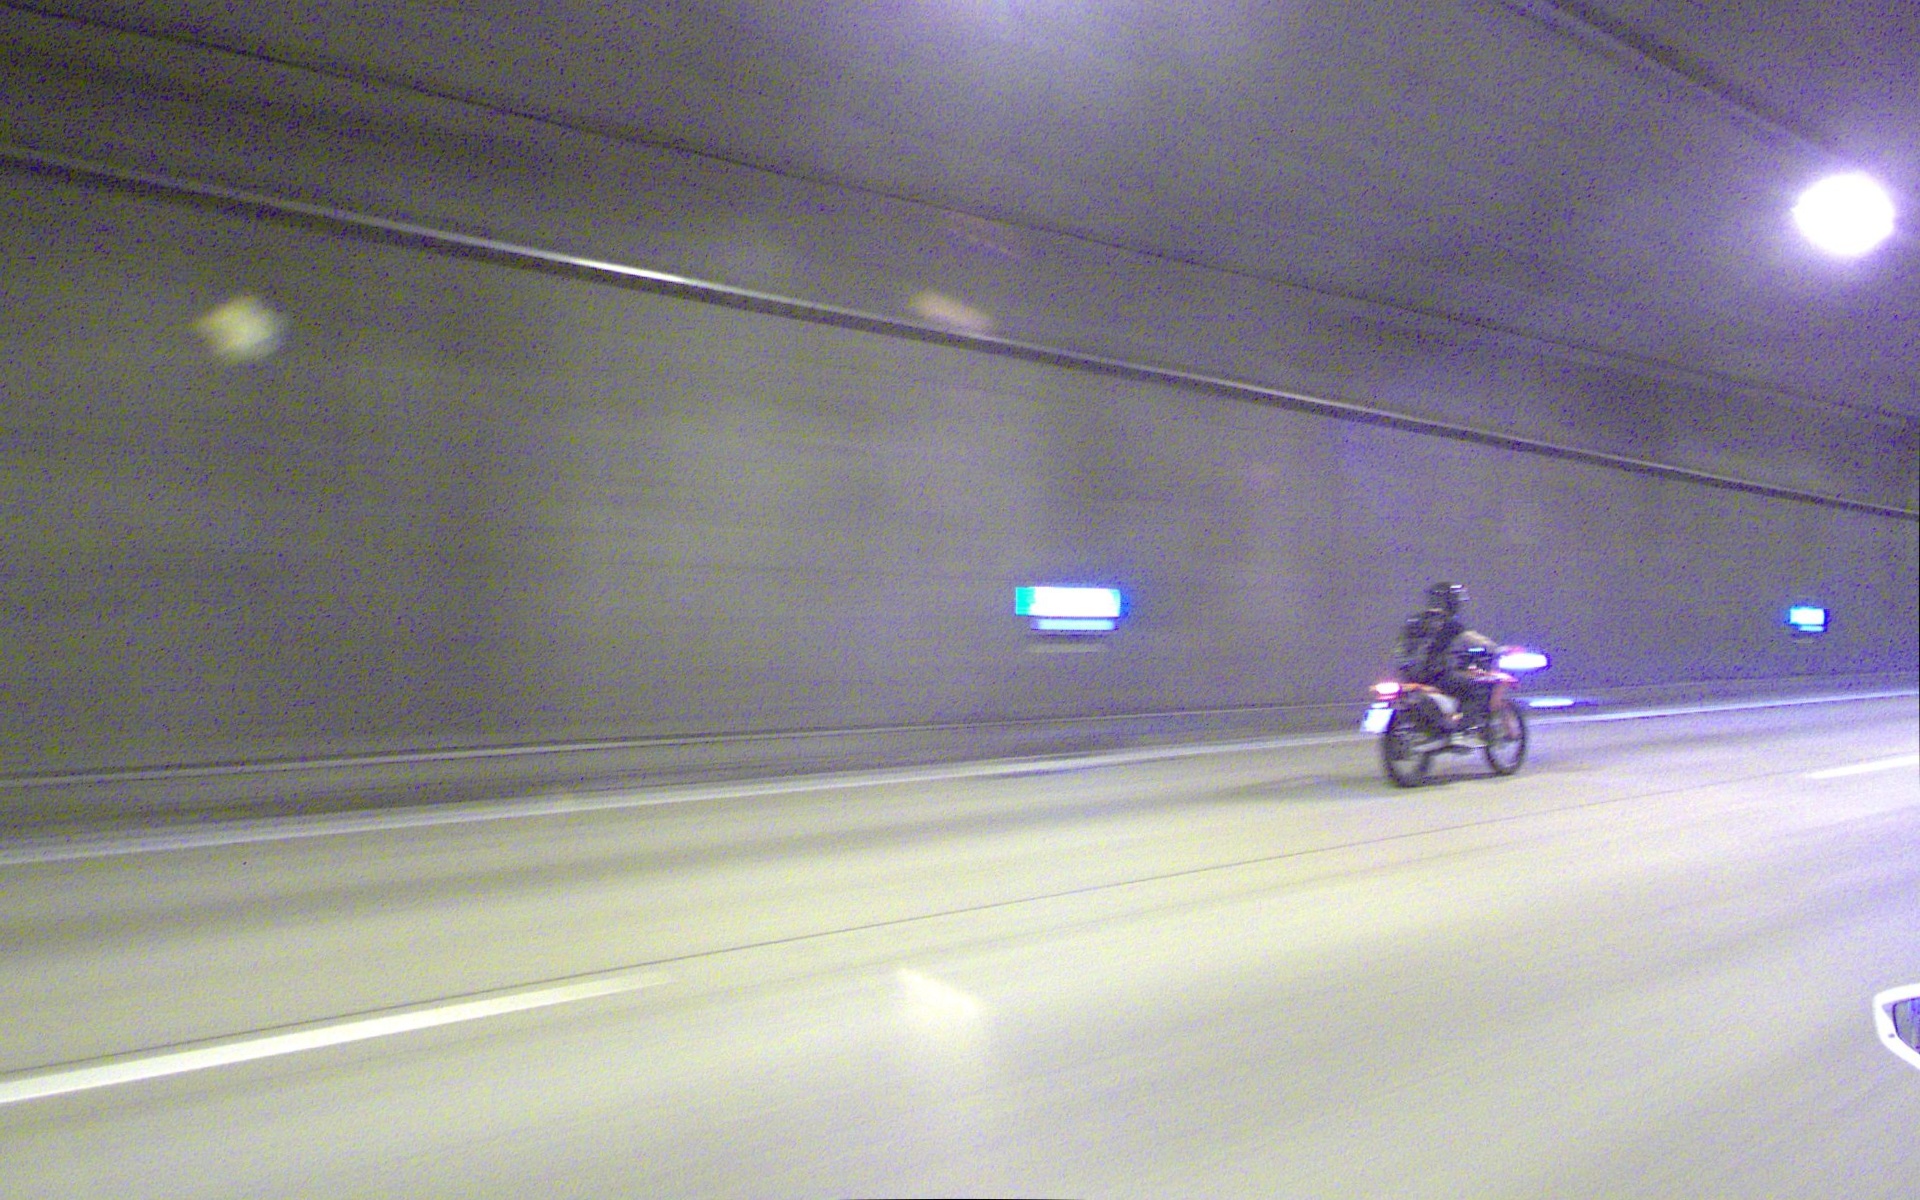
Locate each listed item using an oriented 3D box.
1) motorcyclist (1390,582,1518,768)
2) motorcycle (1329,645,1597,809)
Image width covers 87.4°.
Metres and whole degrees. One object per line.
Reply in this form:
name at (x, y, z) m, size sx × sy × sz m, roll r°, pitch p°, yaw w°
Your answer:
motorcyclist at (4.263, 0.616, 8.666) m, size 0.882 × 1.509 × 0.622 m, roll 2°, pitch 0°, yaw -36°
motorcycle at (4.418, 1.018, 8.765) m, size 2.402 × 1.173 × 1.046 m, roll 1°, pitch 0°, yaw -34°
